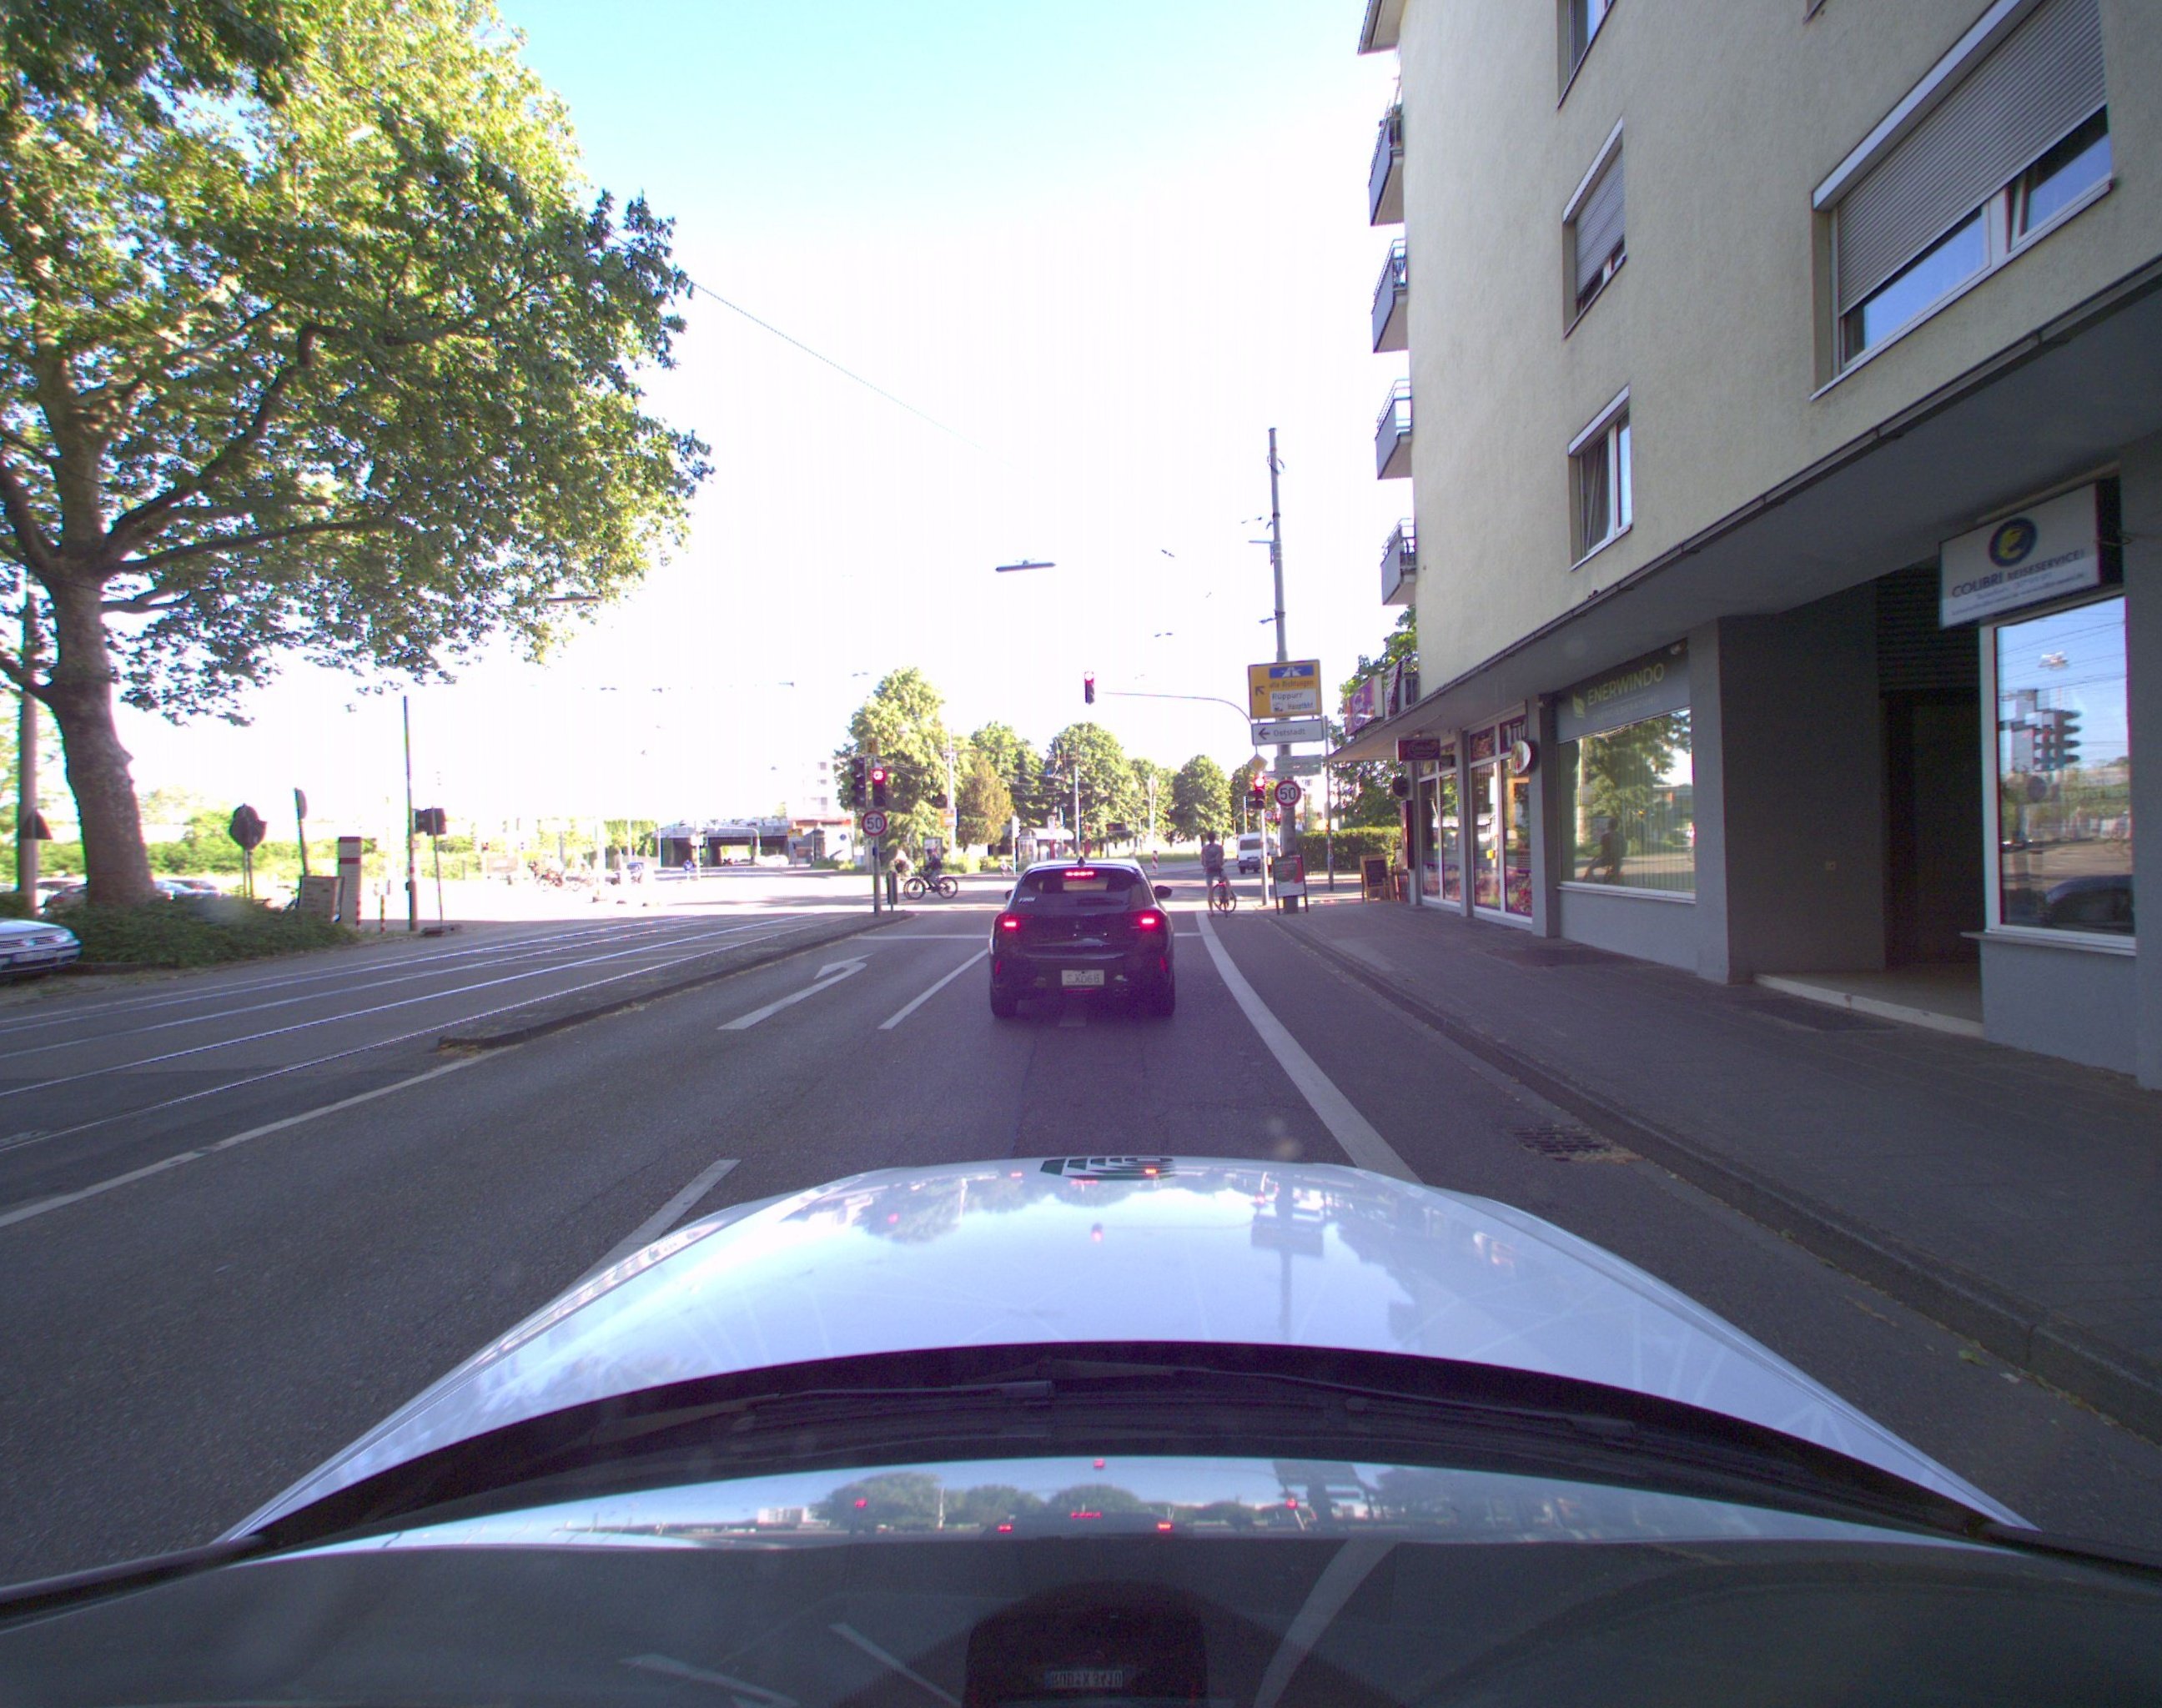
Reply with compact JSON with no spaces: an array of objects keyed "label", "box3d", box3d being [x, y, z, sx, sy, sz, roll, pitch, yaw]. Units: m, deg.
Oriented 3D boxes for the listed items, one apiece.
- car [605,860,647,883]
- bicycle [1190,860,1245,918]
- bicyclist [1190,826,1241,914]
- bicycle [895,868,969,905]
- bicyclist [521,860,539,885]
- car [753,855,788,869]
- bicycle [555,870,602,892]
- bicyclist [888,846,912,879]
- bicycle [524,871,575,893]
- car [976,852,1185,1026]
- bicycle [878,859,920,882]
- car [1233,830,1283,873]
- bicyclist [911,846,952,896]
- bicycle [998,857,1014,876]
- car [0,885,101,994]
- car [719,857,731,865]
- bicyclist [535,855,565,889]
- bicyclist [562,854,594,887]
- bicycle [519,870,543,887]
[{"label":"car","box3d":[-31.283,1.162,56.108,1.830,1.519,3.870,0,0,-18]},{"label":"bicycle","box3d":[2.985,0.735,18.010,0.857,1.153,2.172,-2,0,1]},{"label":"bicyclist","box3d":[2.951,0.341,17.946,0.938,1.851,0.864,-2,0,1]},{"label":"bicycle","box3d":[-4.771,1.026,26.143,2.199,1.033,0.828,-2,0,-21]},{"label":"bicyclist","box3d":[-35.276,1.149,52.157,0.636,1.563,0.828,-2,0,-15]},{"label":"car","box3d":[-43.999,1.090,115.386,4.208,1.805,1.717,-2,0,-37]},{"label":"bicycle","box3d":[-25.025,1.337,40.551,2.044,0.984,0.675,-2,0,12]},{"label":"bicyclist","box3d":[-8.849,0.402,39.816,0.853,1.595,0.653,-2,0,23]},{"label":"bicycle","box3d":[-27.907,1.456,42.772,2.279,1.084,0.803,-2,0,9]},{"label":"car","box3d":[0.070,0.703,8.875,1.720,1.429,4.189,-1,0,2]},{"label":"bicycle","box3d":[-8.907,0.818,39.822,2.036,1.094,0.596,-2,0,23]},{"label":"car","box3d":[10.149,-0.154,46.390,2.046,2.248,4.912,-2,0,20]},{"label":"bicyclist","box3d":[-4.806,0.534,26.138,1.117,1.520,0.915,-2,0,-21]},{"label":"bicycle","box3d":[-4.302,0.727,46.744,0.603,1.031,1.983,-2,0,2]},{"label":"car","box3d":[-16.955,1.202,11.369,4.497,1.429,1.676,0,0,0]},{"label":"car","box3d":[-76.321,1.492,174.553,2.223,1.823,4.114,-2,0,-24]},{"label":"bicyclist","box3d":[-27.874,0.944,42.771,0.921,1.707,0.878,-2,0,10]},{"label":"bicyclist","box3d":[-25.020,0.803,40.529,1.003,1.570,0.802,-2,0,13]},{"label":"bicycle","box3d":[-35.243,1.565,52.206,0.582,1.060,2.032,-2,0,-15]}]
